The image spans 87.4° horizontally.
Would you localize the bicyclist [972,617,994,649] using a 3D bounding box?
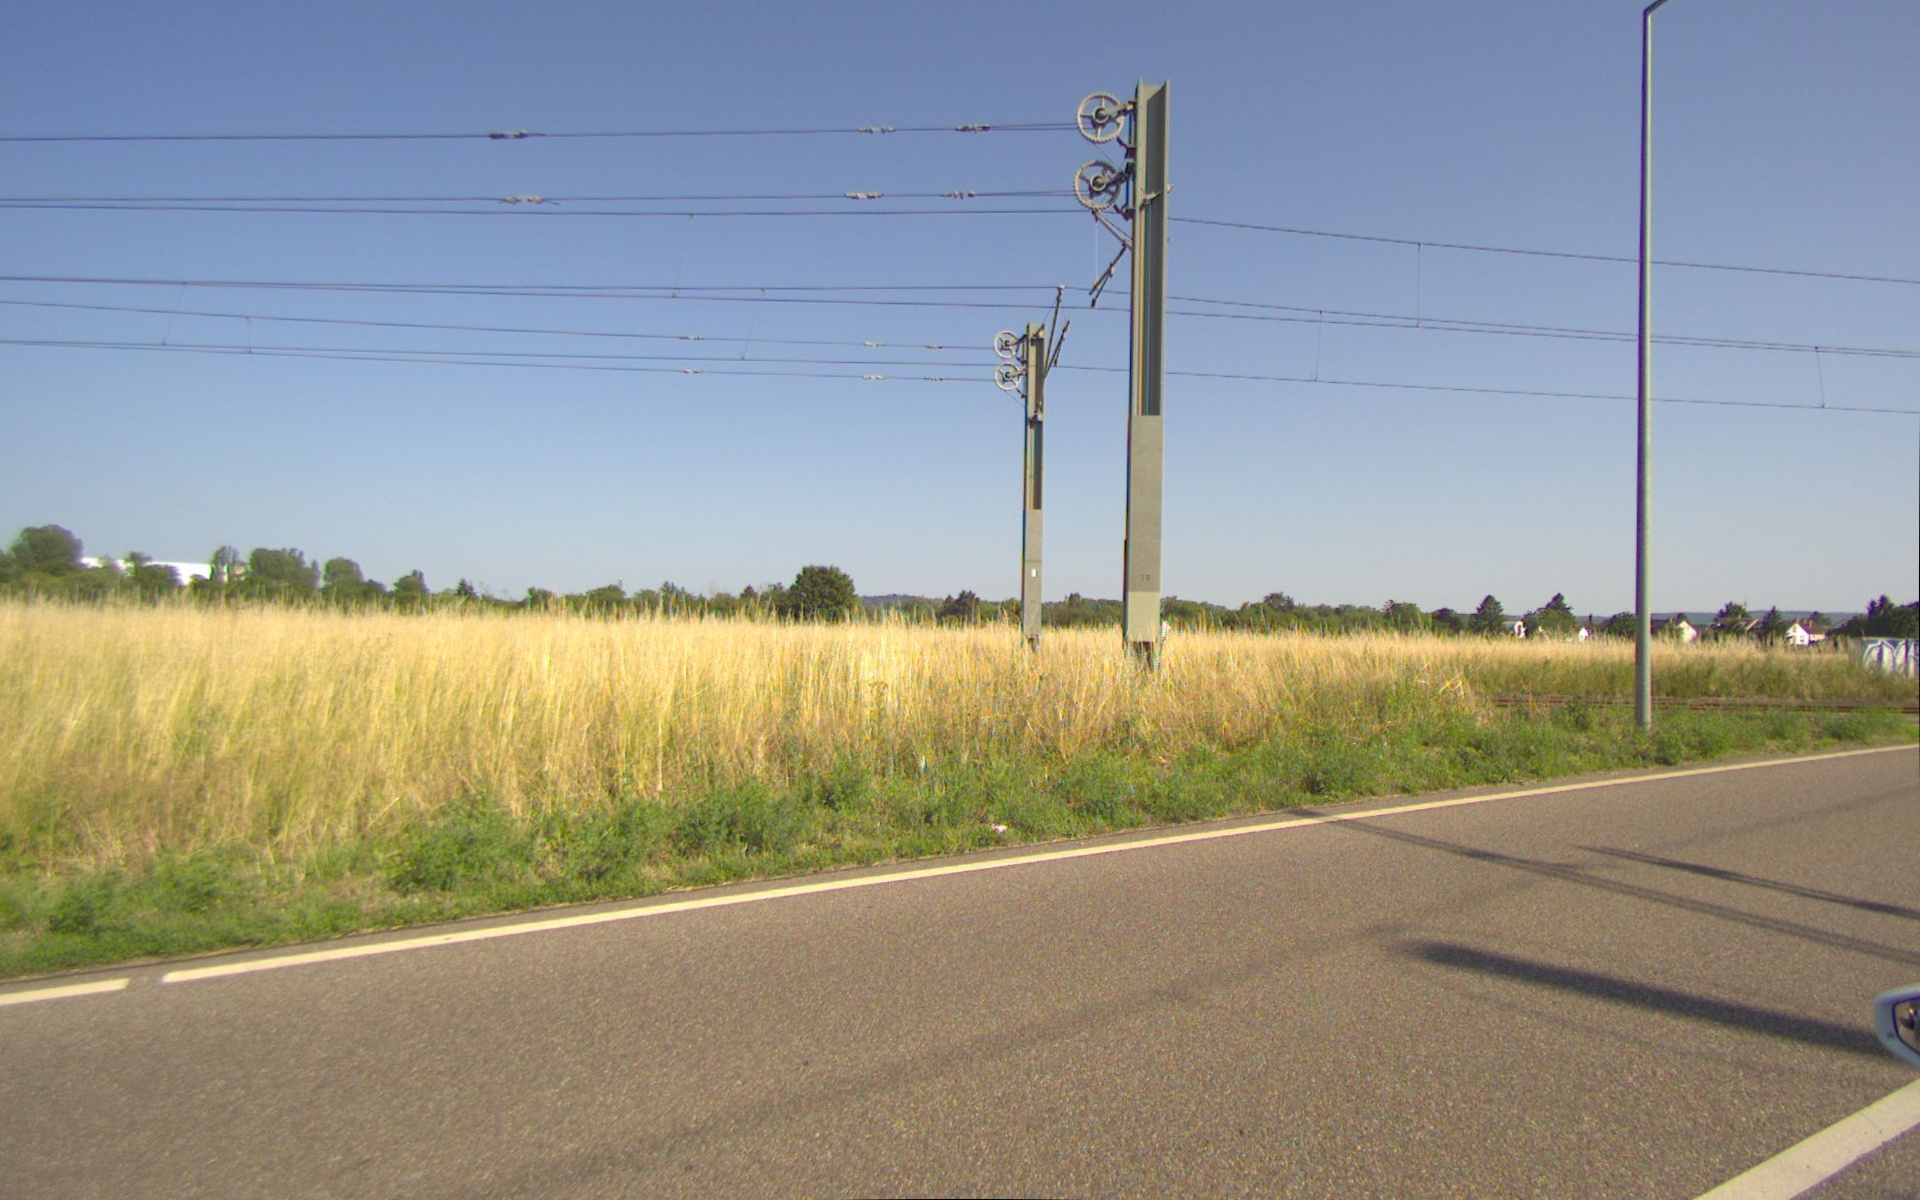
[{"bbox_3d":[0.905,1.305,39.942,0.775,1.221,0.604,1,-1,-7],"label":"bicyclist"}]
